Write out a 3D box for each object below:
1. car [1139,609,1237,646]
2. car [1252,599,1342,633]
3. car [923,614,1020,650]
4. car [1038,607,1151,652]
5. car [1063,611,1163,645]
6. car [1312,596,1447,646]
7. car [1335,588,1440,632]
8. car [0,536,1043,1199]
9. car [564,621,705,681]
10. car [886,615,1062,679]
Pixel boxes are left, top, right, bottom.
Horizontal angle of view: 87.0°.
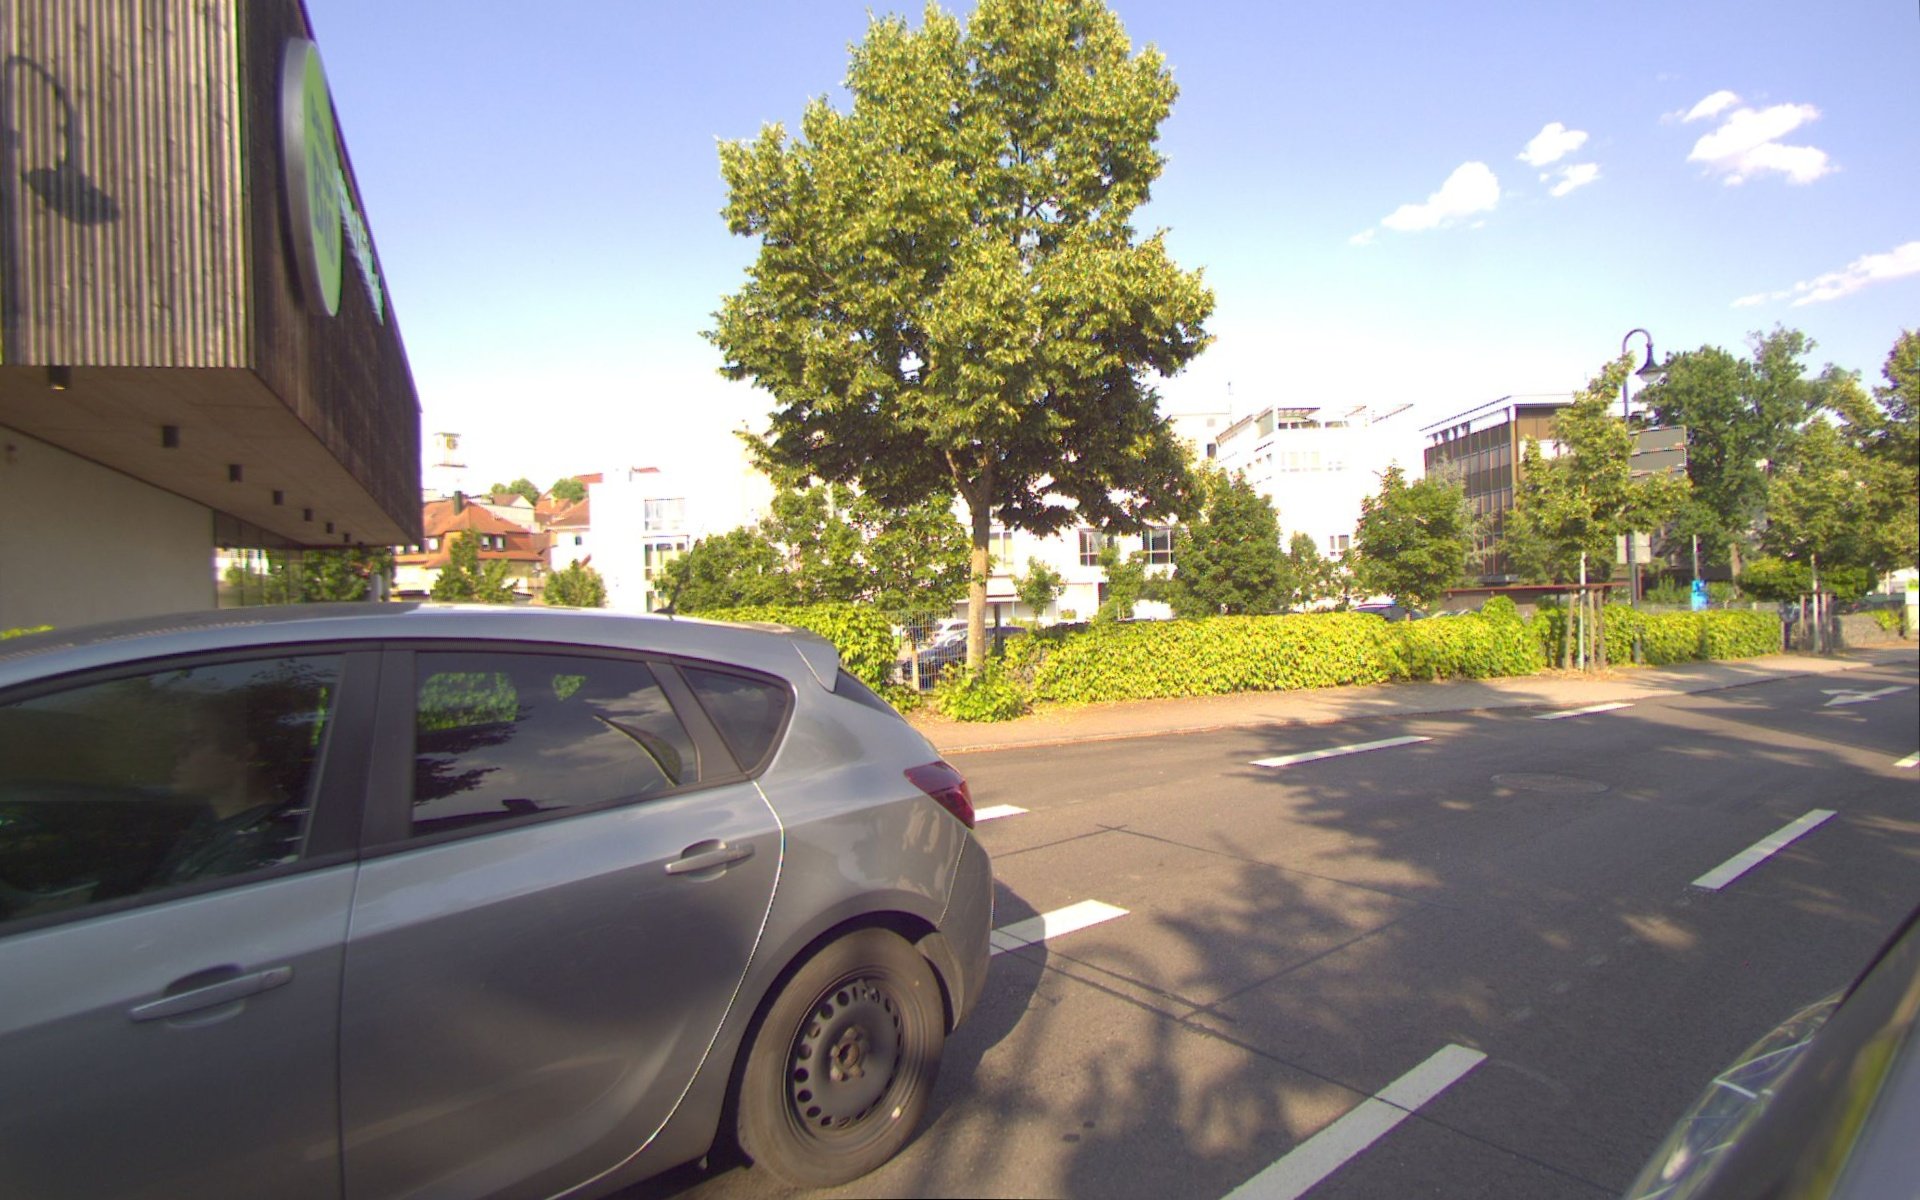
[{"bbox_3d":[10.000,1.185,44.406,3.874,1.462,2.001,-1,-1,-30],"label":"car"},{"bbox_3d":[17.817,0.828,53.438,4.457,1.669,2.002,-1,-1,-30],"label":"car"},{"bbox_3d":[0.553,1.593,50.902,4.452,1.669,2.004,-1,-1,-19],"label":"car"},{"bbox_3d":[5.563,1.220,41.826,4.226,1.746,1.897,0,-3,-25],"label":"car"},{"bbox_3d":[7.292,1.289,48.117,4.457,1.462,1.880,-1,-1,-30],"label":"car"},{"bbox_3d":[14.574,0.724,35.109,4.457,1.552,2.001,-1,-3,-30],"label":"car"},{"bbox_3d":[19.531,0.435,46.194,4.554,1.878,2.002,-1,-1,-30],"label":"car"},{"bbox_3d":[-1.915,0.658,2.166,4.231,1.509,1.724,0,0,-41],"label":"car"},{"bbox_3d":[-10.154,1.543,31.537,3.918,1.649,2.003,-1,-1,-27],"label":"car"},{"bbox_3d":[0.414,1.249,28.032,4.457,1.559,2.001,-1,-1,-30],"label":"car"}]
